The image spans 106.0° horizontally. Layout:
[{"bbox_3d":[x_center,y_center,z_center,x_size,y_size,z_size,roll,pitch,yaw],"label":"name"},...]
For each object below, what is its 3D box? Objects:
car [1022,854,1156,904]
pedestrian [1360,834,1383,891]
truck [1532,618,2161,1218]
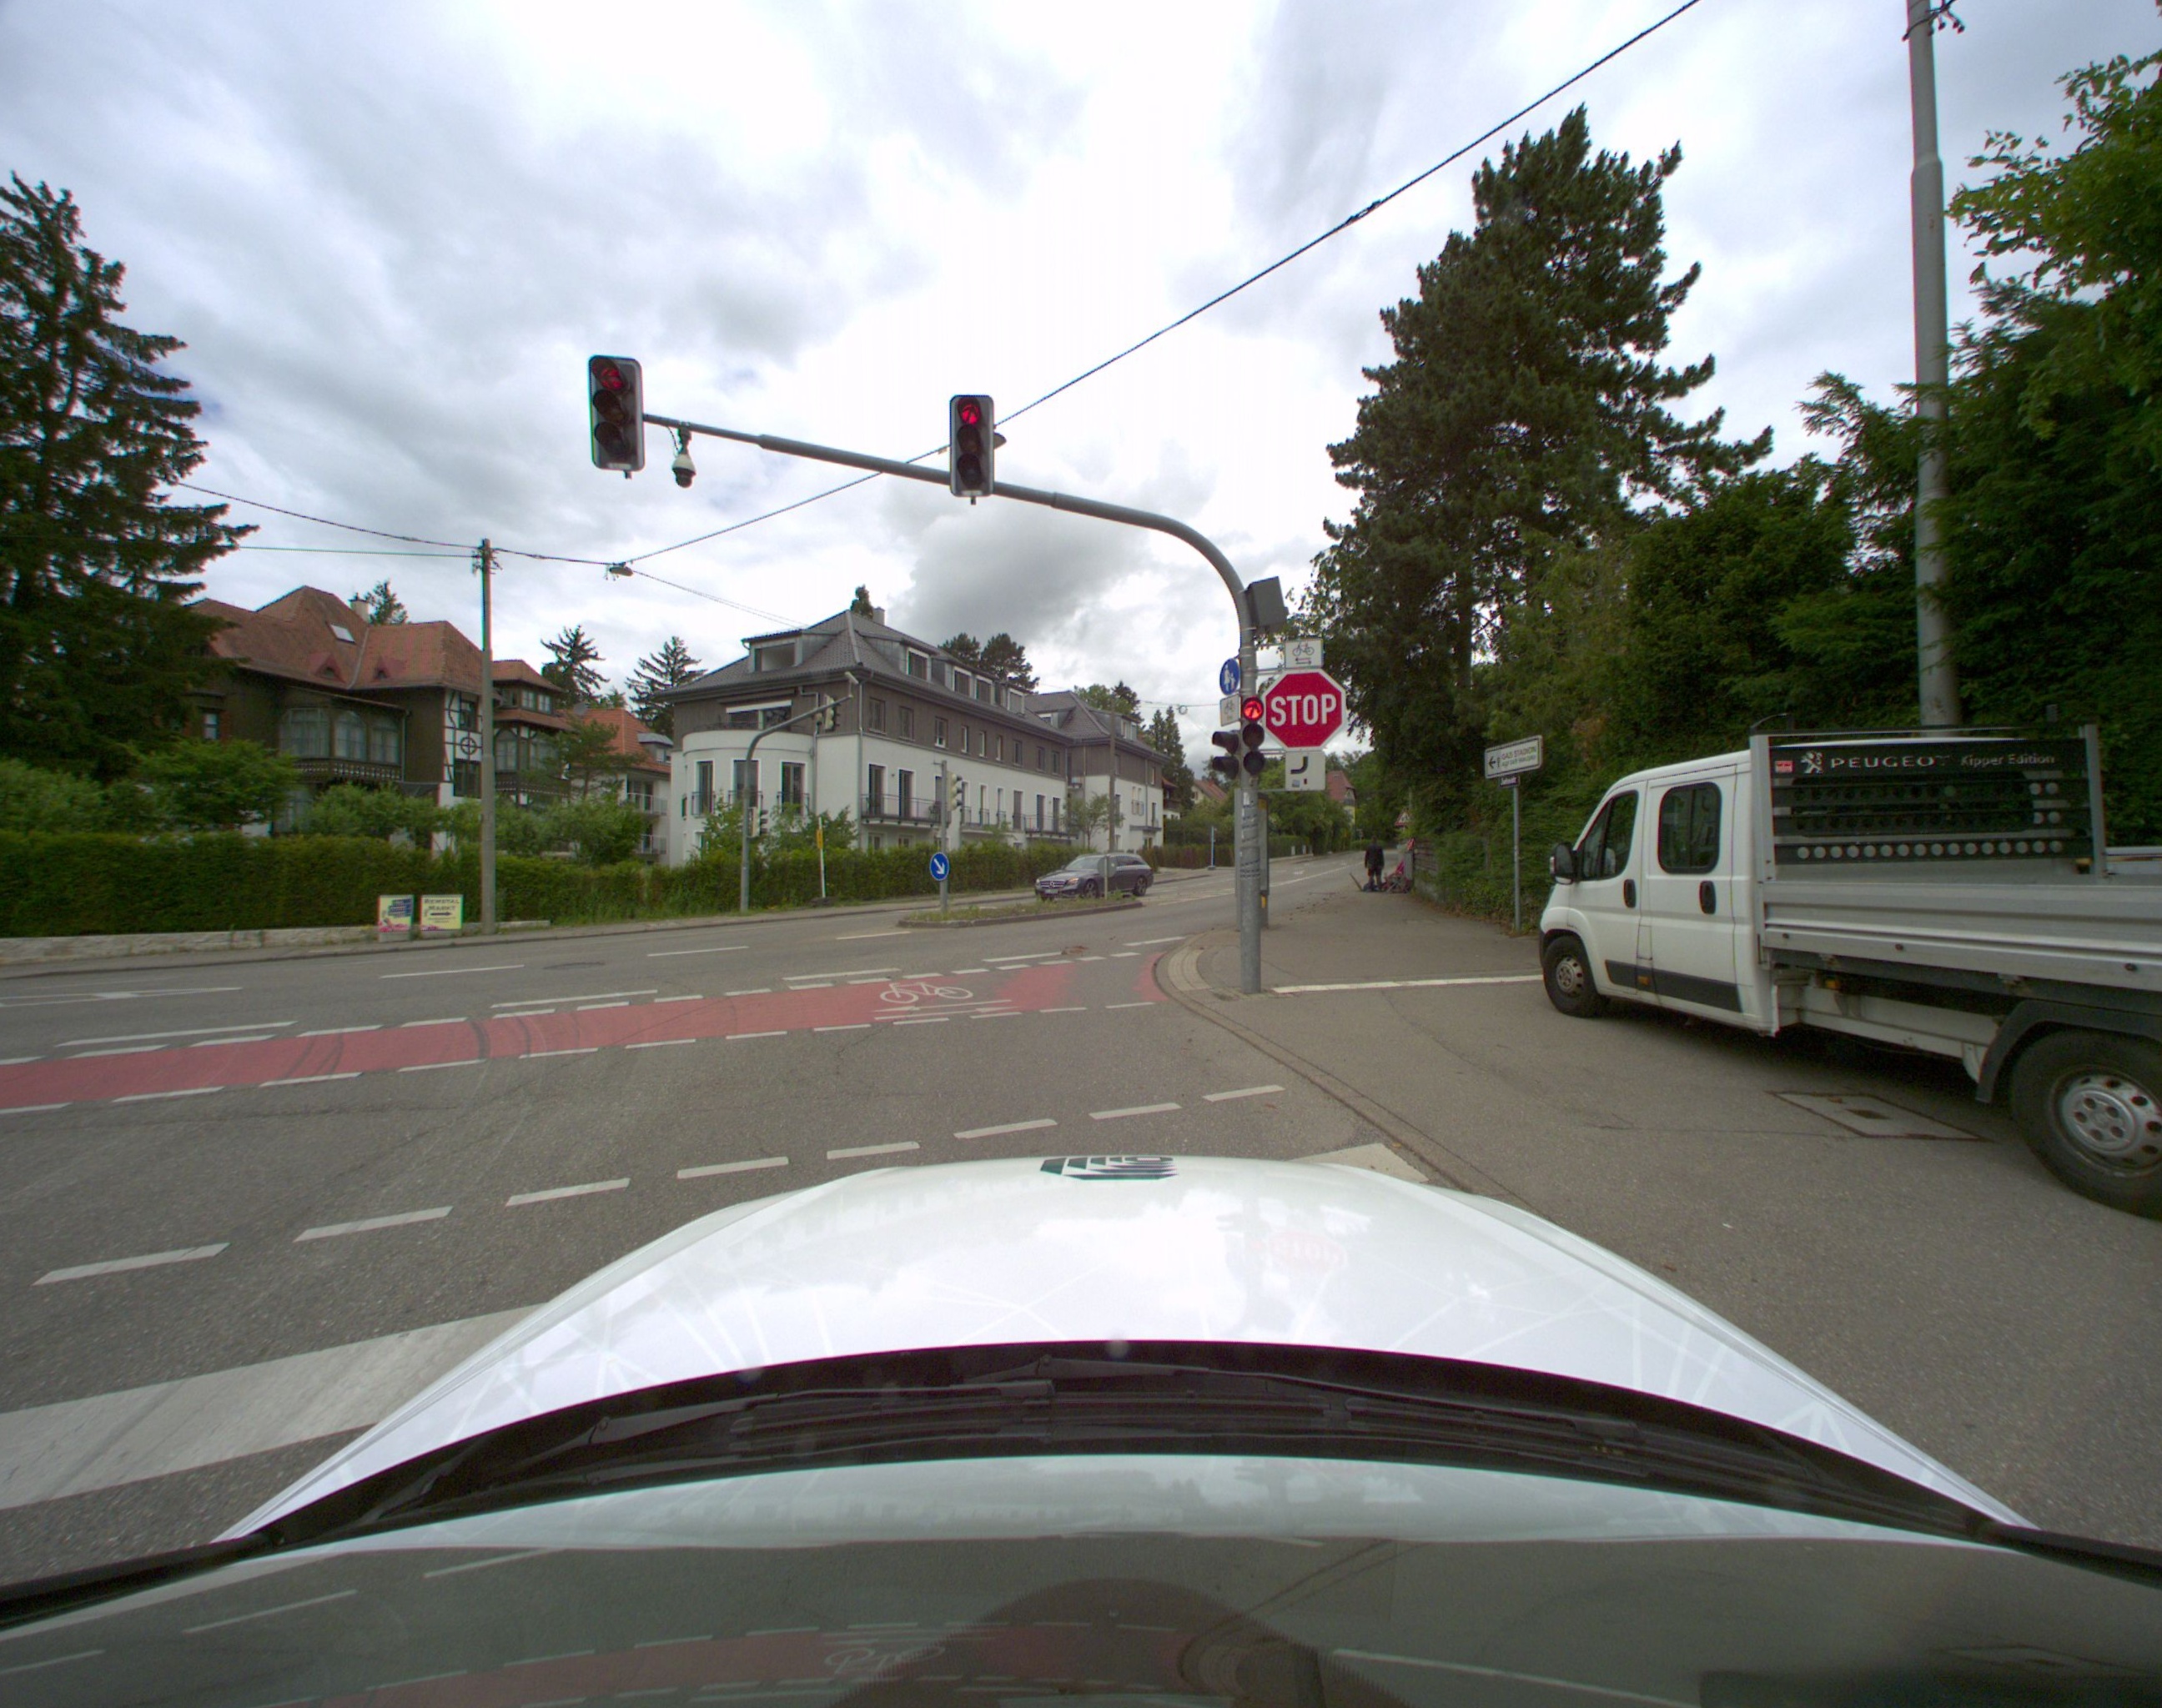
[{"bbox_3d":[0.372,0.746,26.396,1.920,1.403,4.773,-1,0,36],"label":"car"},{"bbox_3d":[9.758,0.283,27.357,0.594,1.907,0.559,0,-1,2],"label":"pedestrian"},{"bbox_3d":[5.272,0.238,4.954,2.198,2.243,5.729,0,0,4],"label":"truck"}]
